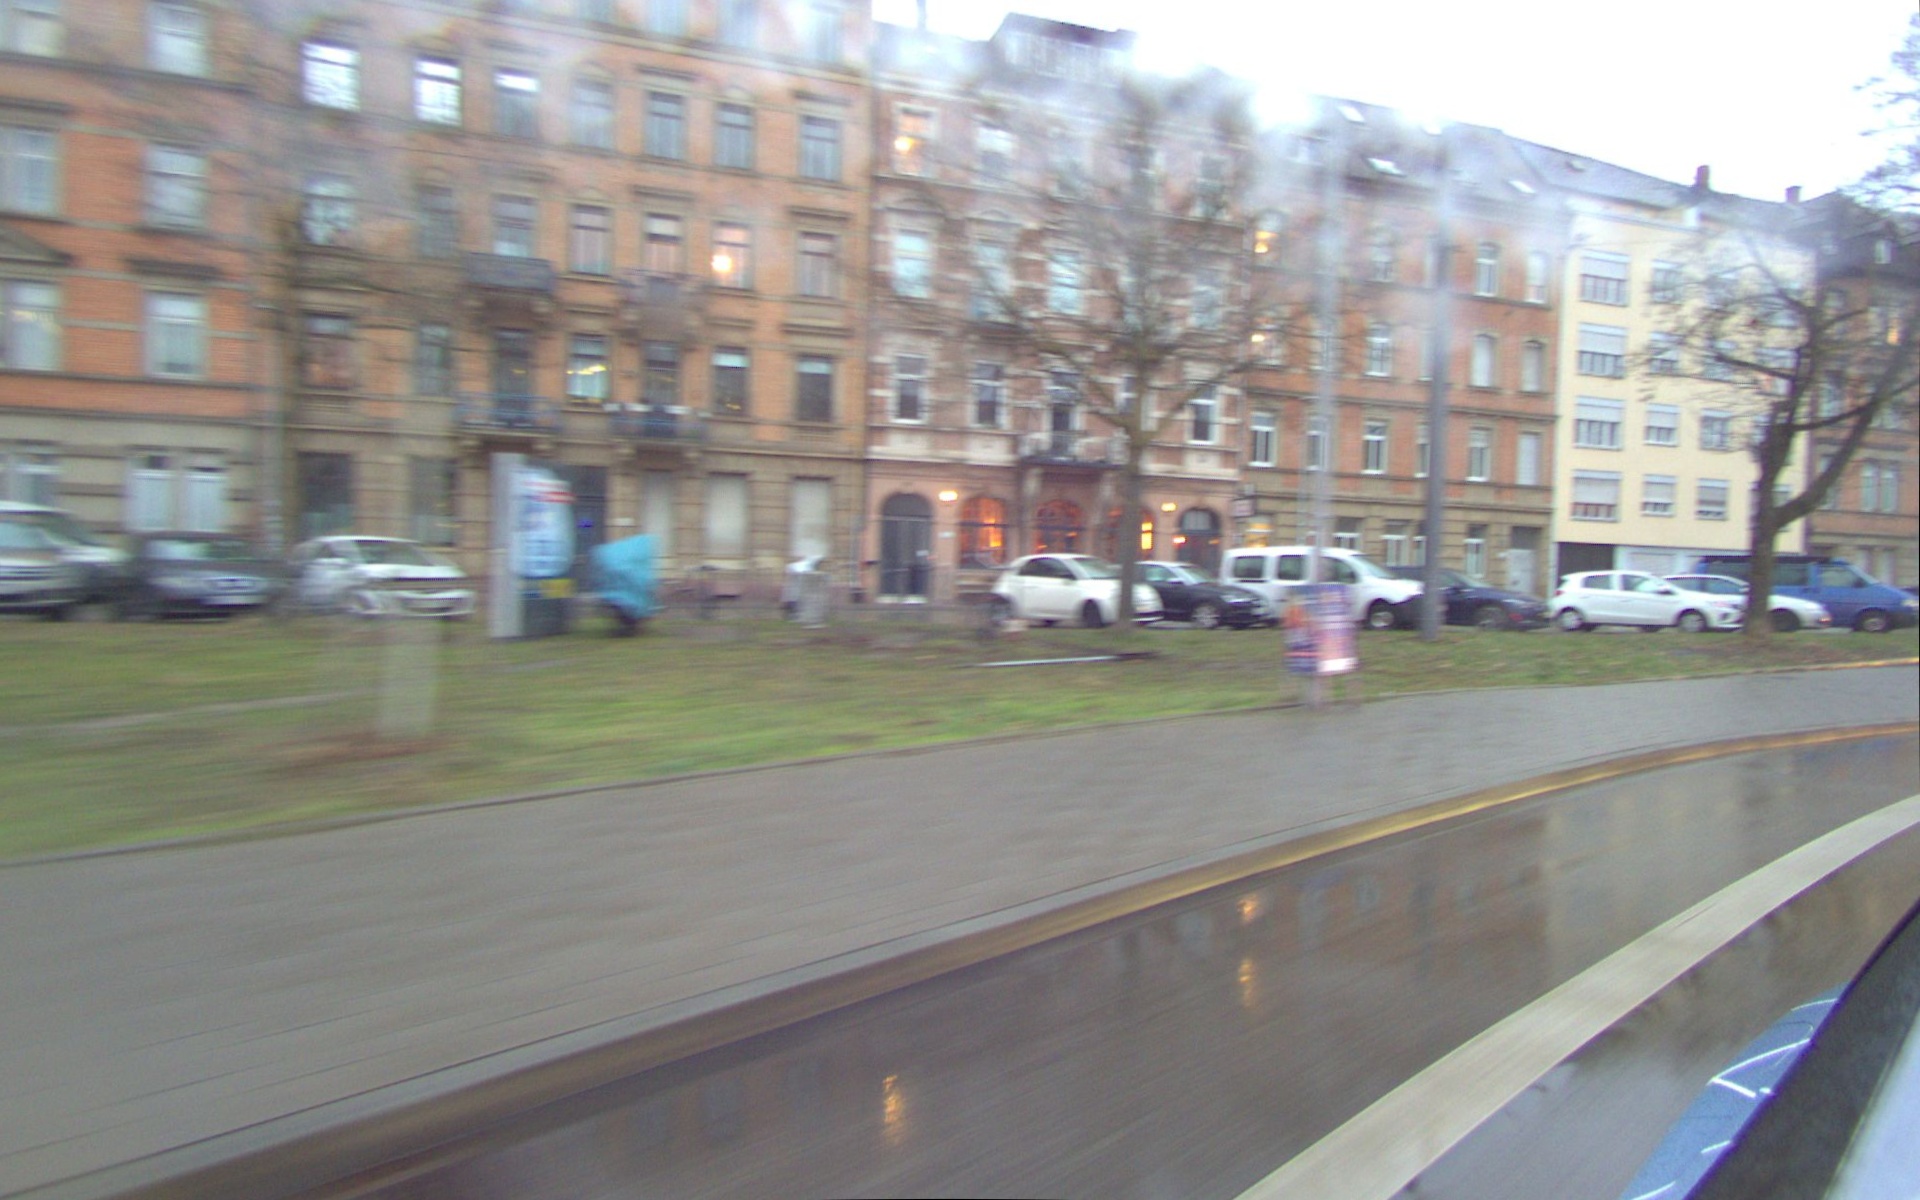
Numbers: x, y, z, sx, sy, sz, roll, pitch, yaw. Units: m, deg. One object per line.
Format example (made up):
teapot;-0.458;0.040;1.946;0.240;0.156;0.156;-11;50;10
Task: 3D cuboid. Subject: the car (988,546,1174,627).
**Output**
car;2.337;-0.252;20.055;1.588;1.461;3.458;0;0;-44

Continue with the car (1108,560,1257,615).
car;6.553;-0.337;29.823;3.965;1.520;1.741;0;-1;-19

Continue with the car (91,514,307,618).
car;-11.419;-0.478;15.110;3.724;1.372;1.654;1;0;38

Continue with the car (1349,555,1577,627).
car;10.848;-0.234;21.994;1.742;1.250;4.054;1;4;-45

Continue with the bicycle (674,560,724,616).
bicycle;-5.028;-0.250;19.391;0.613;0.978;2.176;1;2;-23

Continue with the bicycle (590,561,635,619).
bicycle;-6.477;-0.184;18.791;0.613;0.978;2.175;3;0;-23

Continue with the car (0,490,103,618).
car;-13.911;-0.710;14.616;3.988;1.656;1.914;4;4;43

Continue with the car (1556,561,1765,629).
car;16.395;-0.103;23.805;1.731;1.450;3.767;0;0;-42

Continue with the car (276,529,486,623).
car;-9.472;-0.427;16.456;3.840;1.353;1.675;3;2;39

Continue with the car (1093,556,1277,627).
car;4.689;-0.205;21.278;3.419;1.368;1.639;2;1;41

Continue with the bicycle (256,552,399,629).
bicycle;-8.439;-0.136;13.525;1.623;0.948;0.514;2;2;5

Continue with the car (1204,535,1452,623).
car;7.765;-0.518;21.699;4.649;1.611;1.750;5;4;43

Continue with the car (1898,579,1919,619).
car;38.853;-0.003;39.423;3.790;1.562;1.477;1;2;-13

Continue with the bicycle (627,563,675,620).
bicycle;-5.850;-0.163;19.106;0.613;0.978;2.175;3;0;-23

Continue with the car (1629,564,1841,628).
car;18.737;-0.083;24.661;3.977;1.433;1.619;-1;0;38

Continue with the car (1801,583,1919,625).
car;34.036;0.145;37.953;4.090;1.496;1.755;0;0;-15

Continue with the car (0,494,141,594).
car;-20.796;-1.230;21.501;4.882;2.038;2.005;1;3;-20

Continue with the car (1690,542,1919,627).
car;21.522;-0.381;25.781;4.696;2.008;1.775;1;0;38
